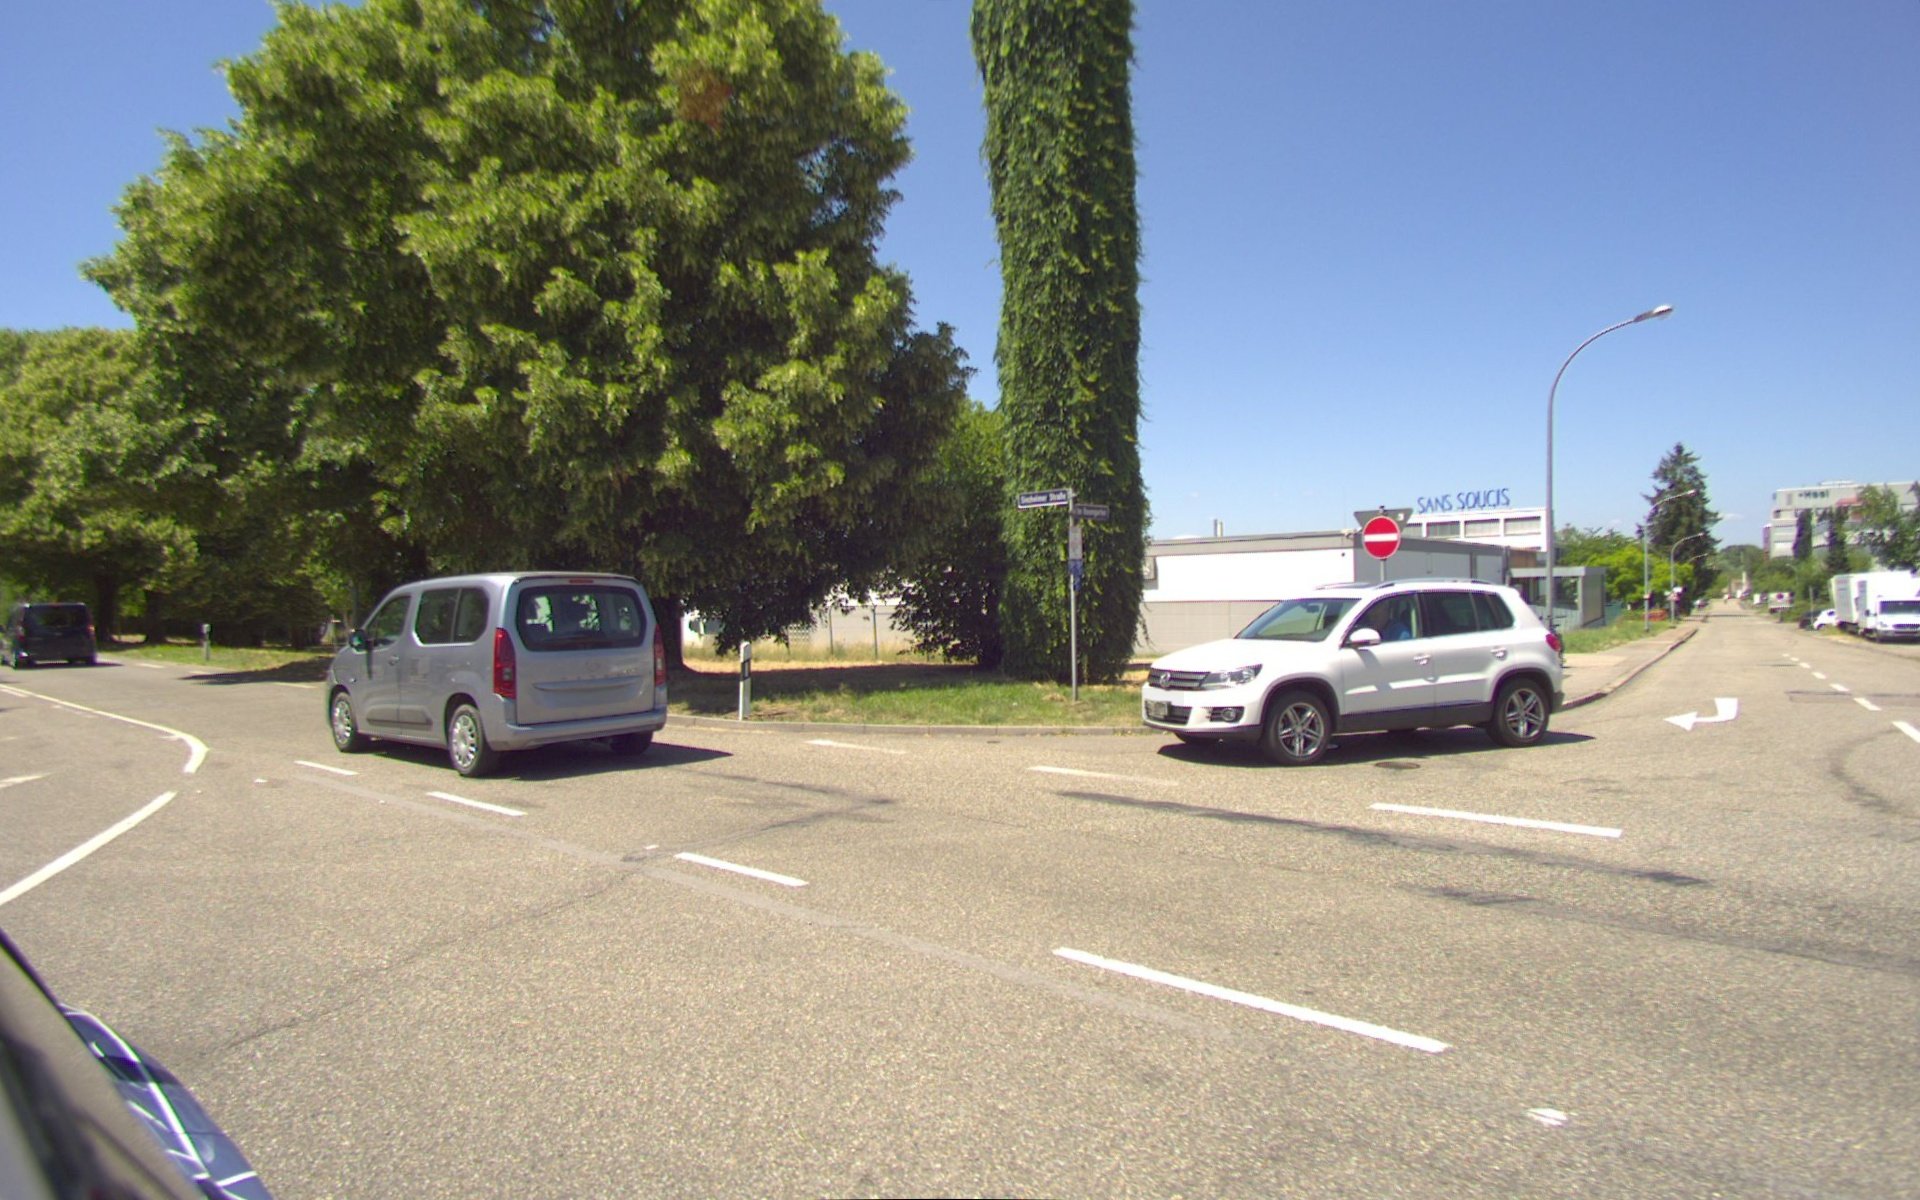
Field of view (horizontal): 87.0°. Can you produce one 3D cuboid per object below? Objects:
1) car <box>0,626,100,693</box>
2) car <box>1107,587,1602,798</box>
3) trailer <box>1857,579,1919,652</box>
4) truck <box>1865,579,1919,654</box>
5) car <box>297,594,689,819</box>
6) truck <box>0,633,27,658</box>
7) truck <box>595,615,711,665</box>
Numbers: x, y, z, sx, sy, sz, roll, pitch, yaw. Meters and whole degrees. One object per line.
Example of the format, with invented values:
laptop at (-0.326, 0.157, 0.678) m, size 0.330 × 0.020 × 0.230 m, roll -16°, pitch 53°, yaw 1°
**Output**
car at (-26.493, 1.663, 29.210) m, size 4.779 × 1.795 × 1.804 m, roll -2°, pitch -2°, yaw 41°
car at (3.810, 0.785, 9.964) m, size 4.175 × 1.685 × 1.981 m, roll -1°, pitch -1°, yaw -18°
trailer at (47.356, 0.713, 51.281) m, size 2.305 × 3.435 × 7.228 m, roll -1°, pitch 0°, yaw 38°
truck at (45.073, 0.750, 48.405) m, size 2.305 × 3.448 × 4.662 m, roll -1°, pitch 0°, yaw 38°
car at (-4.794, 0.905, 10.105) m, size 4.358 × 1.786 × 1.779 m, roll -2°, pitch -1°, yaw 38°
truck at (-100.438, 4.772, 106.442) m, size 2.266 × 2.482 × 5.358 m, roll -1°, pitch 0°, yaw -30°
truck at (-19.448, 2.512, 63.597) m, size 2.654 × 2.818 × 10.166 m, roll -2°, pitch -1°, yaw -44°
